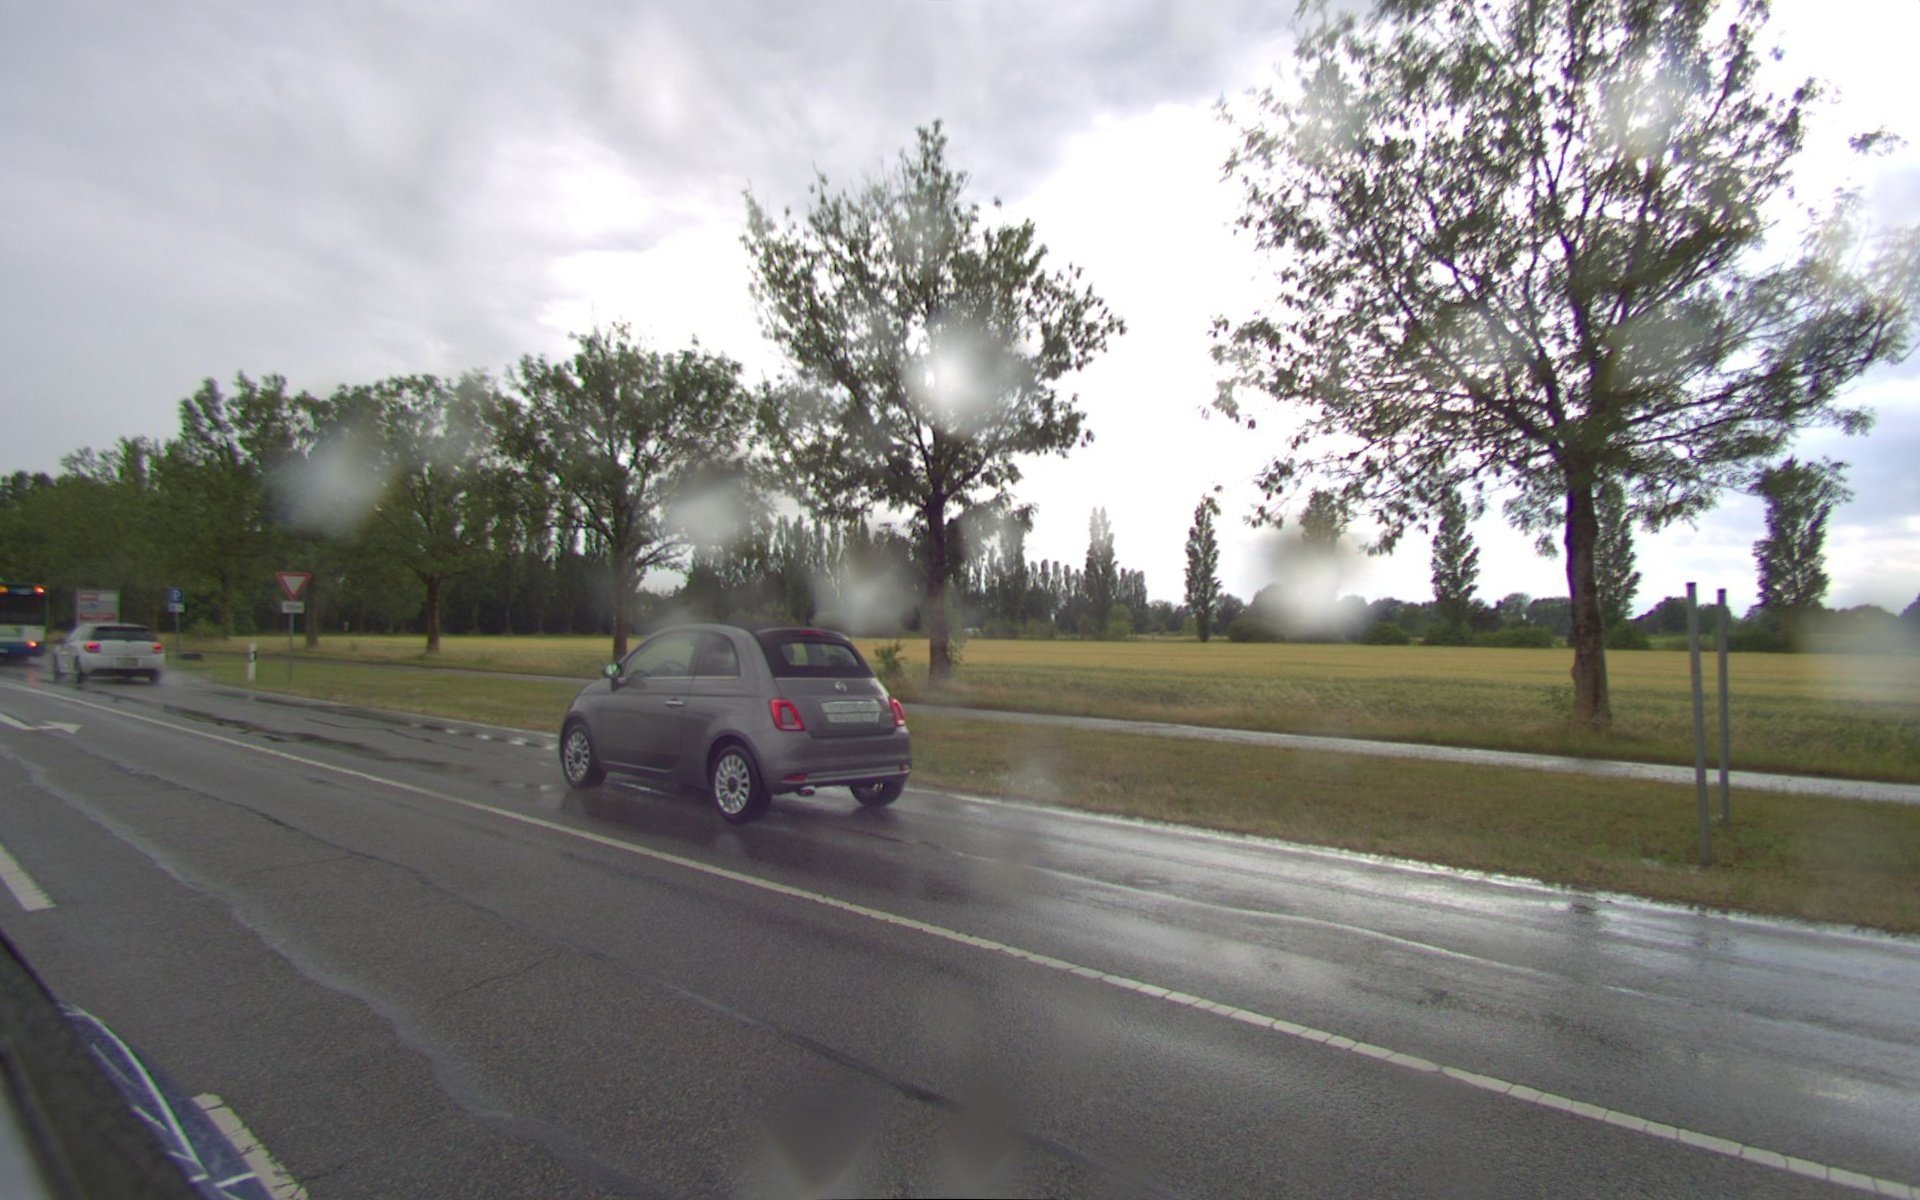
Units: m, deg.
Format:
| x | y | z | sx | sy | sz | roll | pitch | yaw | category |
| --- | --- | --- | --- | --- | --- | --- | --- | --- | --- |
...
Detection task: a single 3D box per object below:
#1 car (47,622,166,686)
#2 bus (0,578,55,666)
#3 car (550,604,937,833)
| x | y | z | sx | sy | sz | roll | pitch | yaw | category |
| --- | --- | --- | --- | --- | --- | --- | --- | --- | --- |
| -21.228 | 1.320 | 25.140 | 3.459 | 1.461 | 1.651 | -1 | -4 | 41 | car |
| -36.905 | 0.794 | 37.647 | 12.464 | 2.934 | 2.921 | -1 | -3 | 40 | bus |
| -1.912 | 0.867 | 8.498 | 3.300 | 1.541 | 1.484 | -1 | -4 | 42 | car |
